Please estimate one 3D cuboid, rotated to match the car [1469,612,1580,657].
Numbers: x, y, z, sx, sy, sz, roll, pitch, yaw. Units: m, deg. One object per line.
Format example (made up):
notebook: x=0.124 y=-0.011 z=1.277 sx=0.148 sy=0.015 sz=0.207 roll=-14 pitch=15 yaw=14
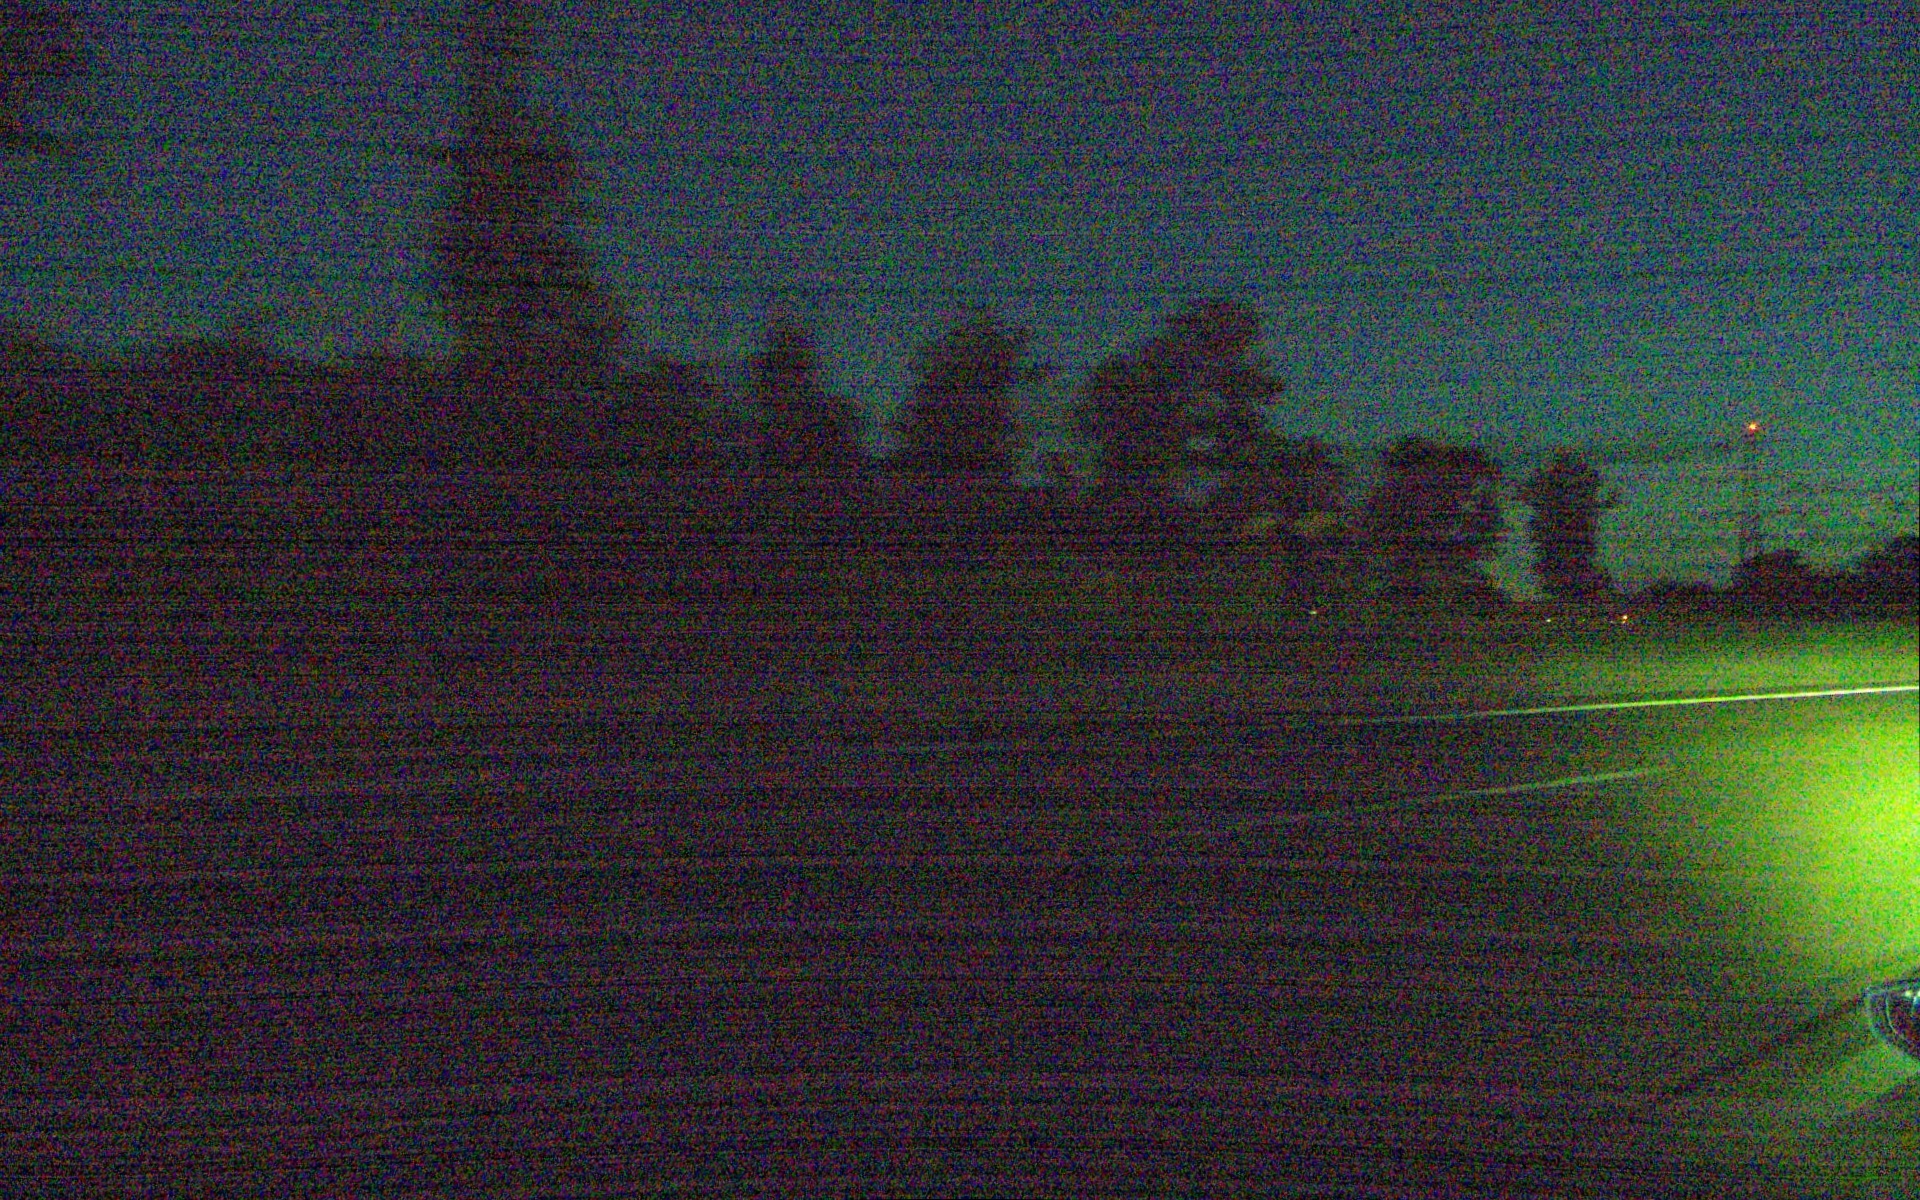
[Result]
car: x=21.315 y=1.313 z=37.926 sx=3.952 sy=1.582 sz=1.888 roll=2 pitch=0 yaw=-30
